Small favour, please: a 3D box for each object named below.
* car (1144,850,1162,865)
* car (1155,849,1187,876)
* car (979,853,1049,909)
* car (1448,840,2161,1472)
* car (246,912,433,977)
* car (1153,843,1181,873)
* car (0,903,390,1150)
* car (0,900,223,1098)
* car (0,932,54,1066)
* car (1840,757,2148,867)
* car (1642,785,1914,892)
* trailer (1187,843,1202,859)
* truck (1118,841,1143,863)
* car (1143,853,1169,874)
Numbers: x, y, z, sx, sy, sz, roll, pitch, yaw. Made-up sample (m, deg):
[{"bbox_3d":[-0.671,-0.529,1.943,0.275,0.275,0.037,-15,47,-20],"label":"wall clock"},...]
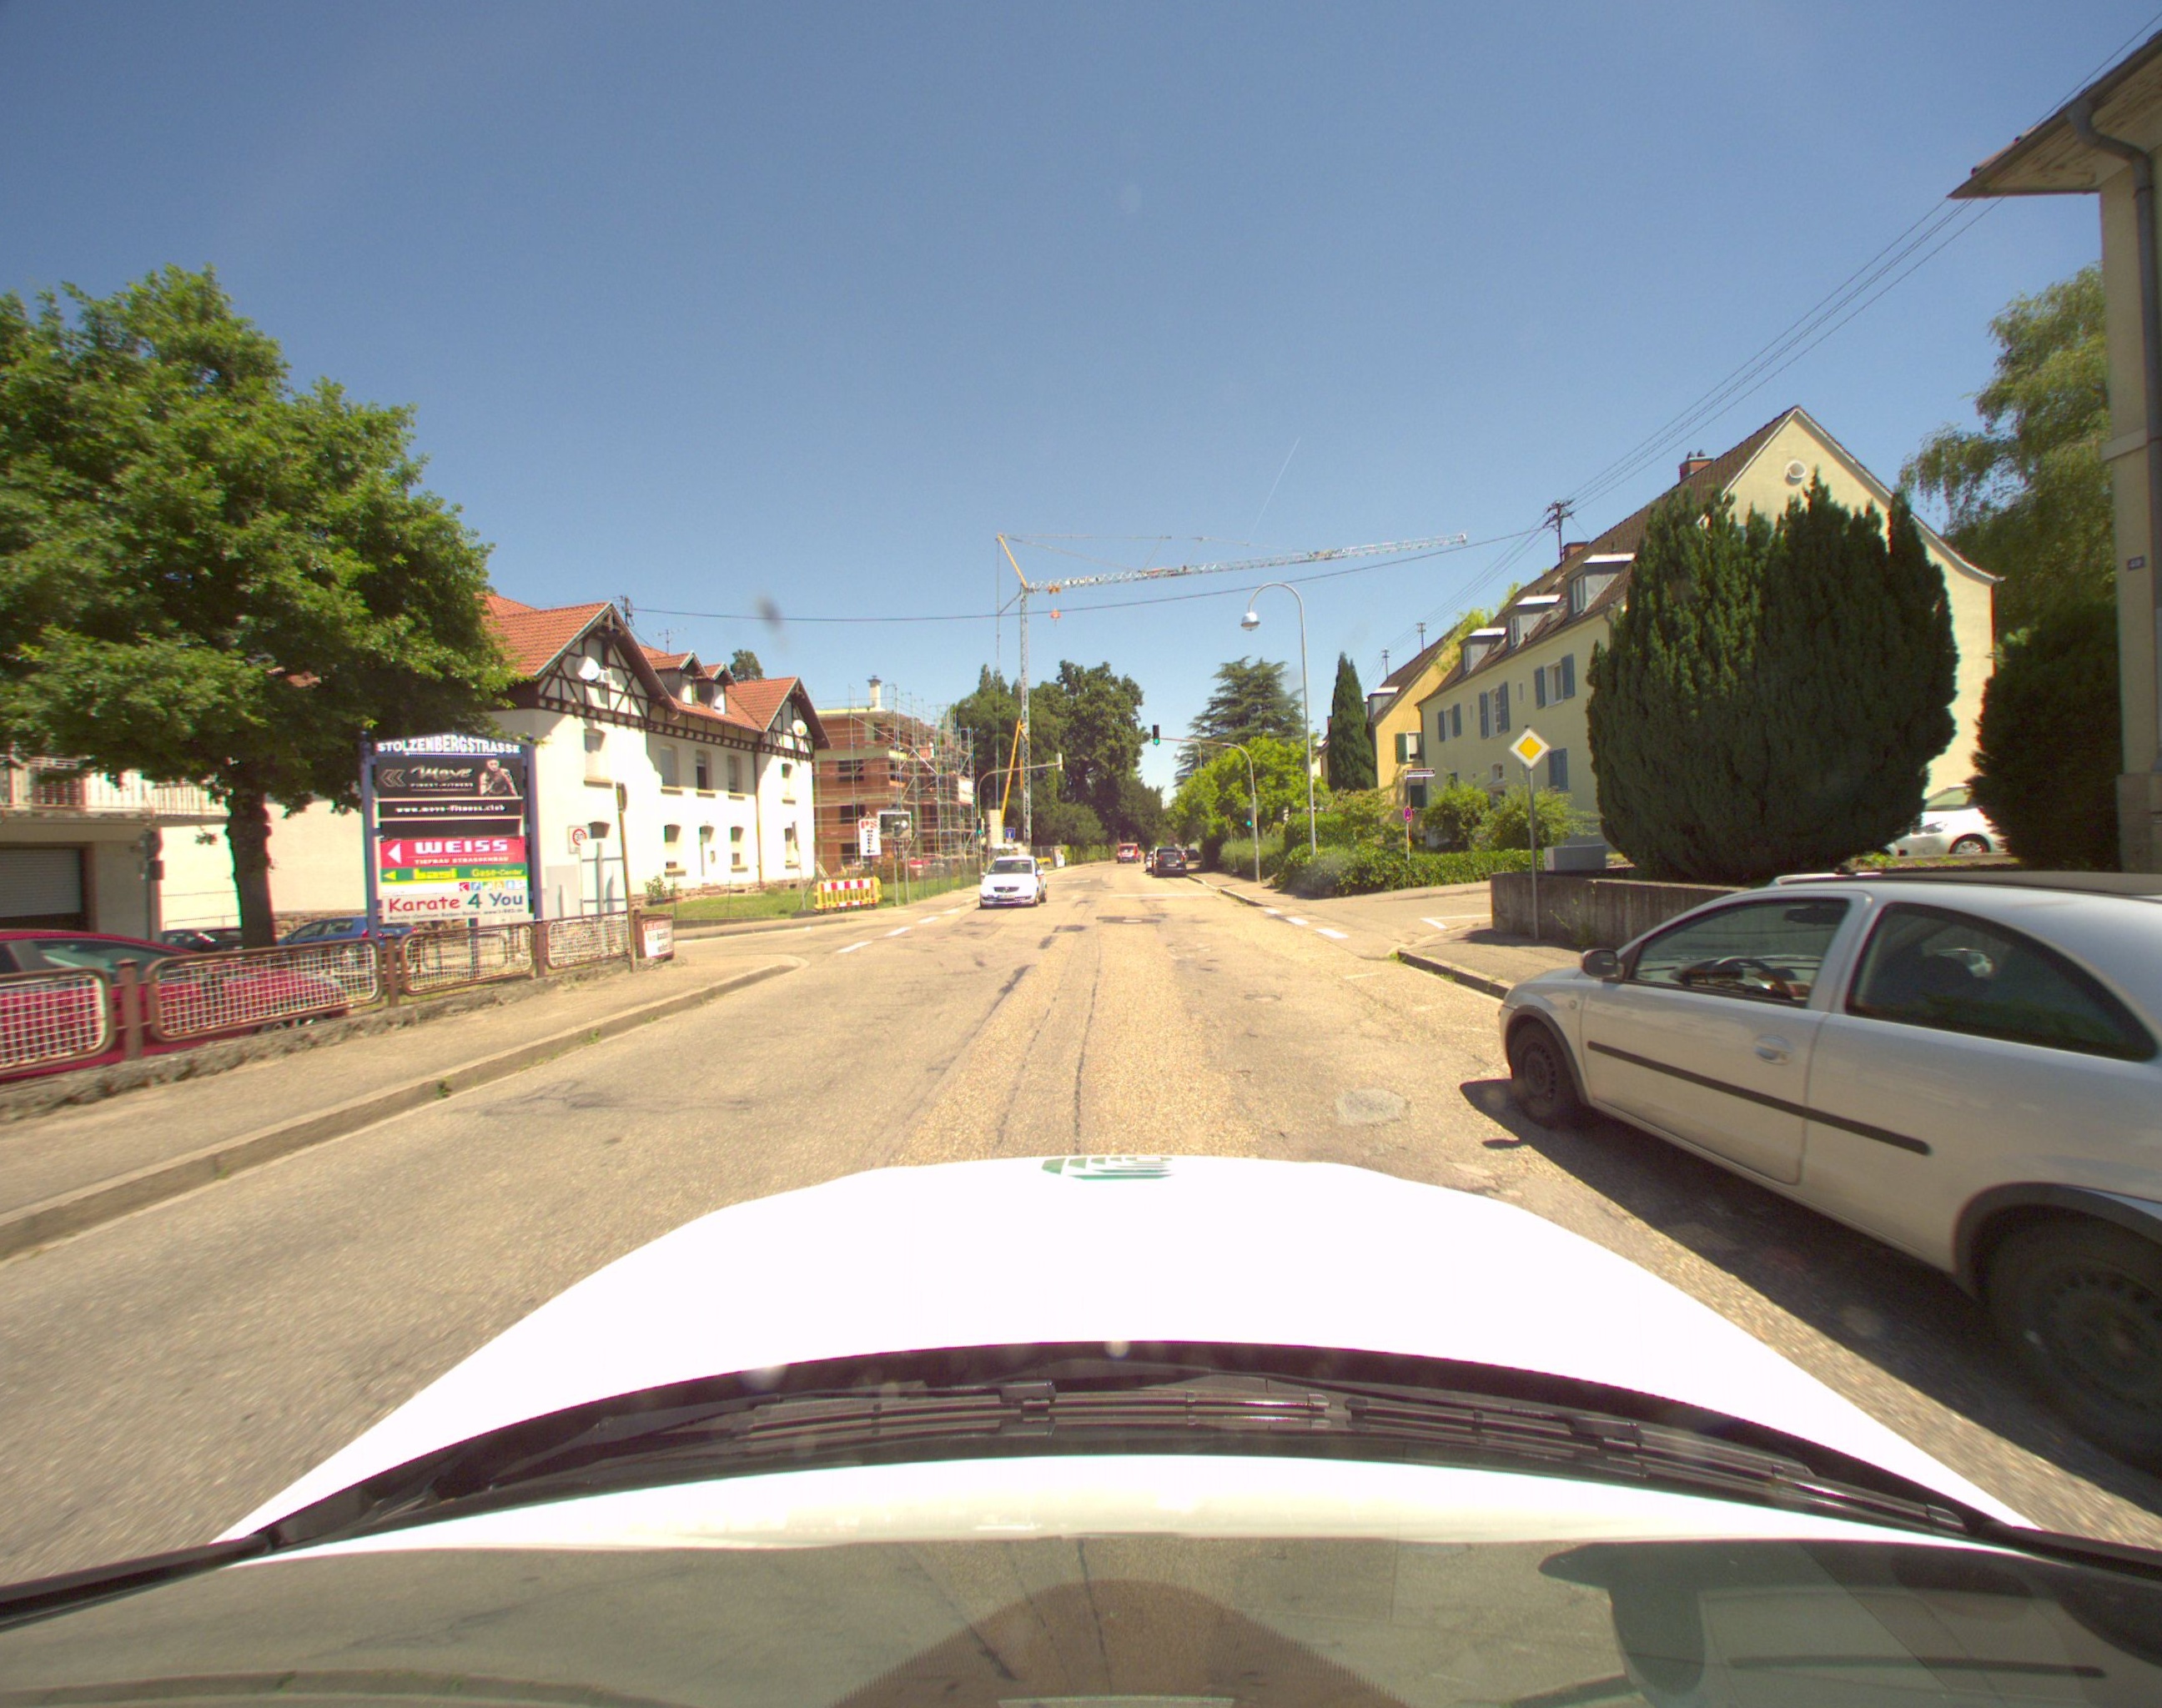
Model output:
[{"bbox_3d":[7.811,0.381,87.962,1.784,1.510,4.008,0,0,7],"label":"car"},{"bbox_3d":[5.226,0.478,47.548,1.622,1.463,4.019,1,0,3],"label":"car"},{"bbox_3d":[-2.061,0.797,26.097,1.646,1.562,3.887,-3,0,2],"label":"car"},{"bbox_3d":[3.332,0.723,3.527,1.661,1.466,3.998,1,0,-1],"label":"car"},{"bbox_3d":[-21.378,2.595,23.564,3.964,1.434,1.805,-5,0,8],"label":"car"},{"bbox_3d":[5.471,0.255,52.228,1.654,1.803,4.209,1,0,5],"label":"car"},{"bbox_3d":[-8.263,1.332,6.445,1.784,1.518,4.008,-4,0,7],"label":"car"},{"bbox_3d":[-10.797,1.428,6.835,1.783,1.678,4.638,-4,0,10],"label":"car"},{"bbox_3d":[-13.081,1.695,7.547,1.784,1.434,4.008,-4,0,7],"label":"car"},{"bbox_3d":[16.487,-0.725,14.869,3.485,1.452,1.615,-7,0,5],"label":"car"},{"bbox_3d":[12.713,-0.267,15.050,3.387,1.452,1.616,-7,0,7],"label":"car"},{"bbox_3d":[14.792,-0.379,106.383,1.669,2.067,3.720,0,1,12],"label":"trailer"},{"bbox_3d":[5.660,-0.240,91.841,2.115,2.338,6.451,-2,0,9],"label":"truck"},{"bbox_3d":[5.333,0.641,57.568,1.653,1.435,4.137,0,0,7],"label":"car"}]
